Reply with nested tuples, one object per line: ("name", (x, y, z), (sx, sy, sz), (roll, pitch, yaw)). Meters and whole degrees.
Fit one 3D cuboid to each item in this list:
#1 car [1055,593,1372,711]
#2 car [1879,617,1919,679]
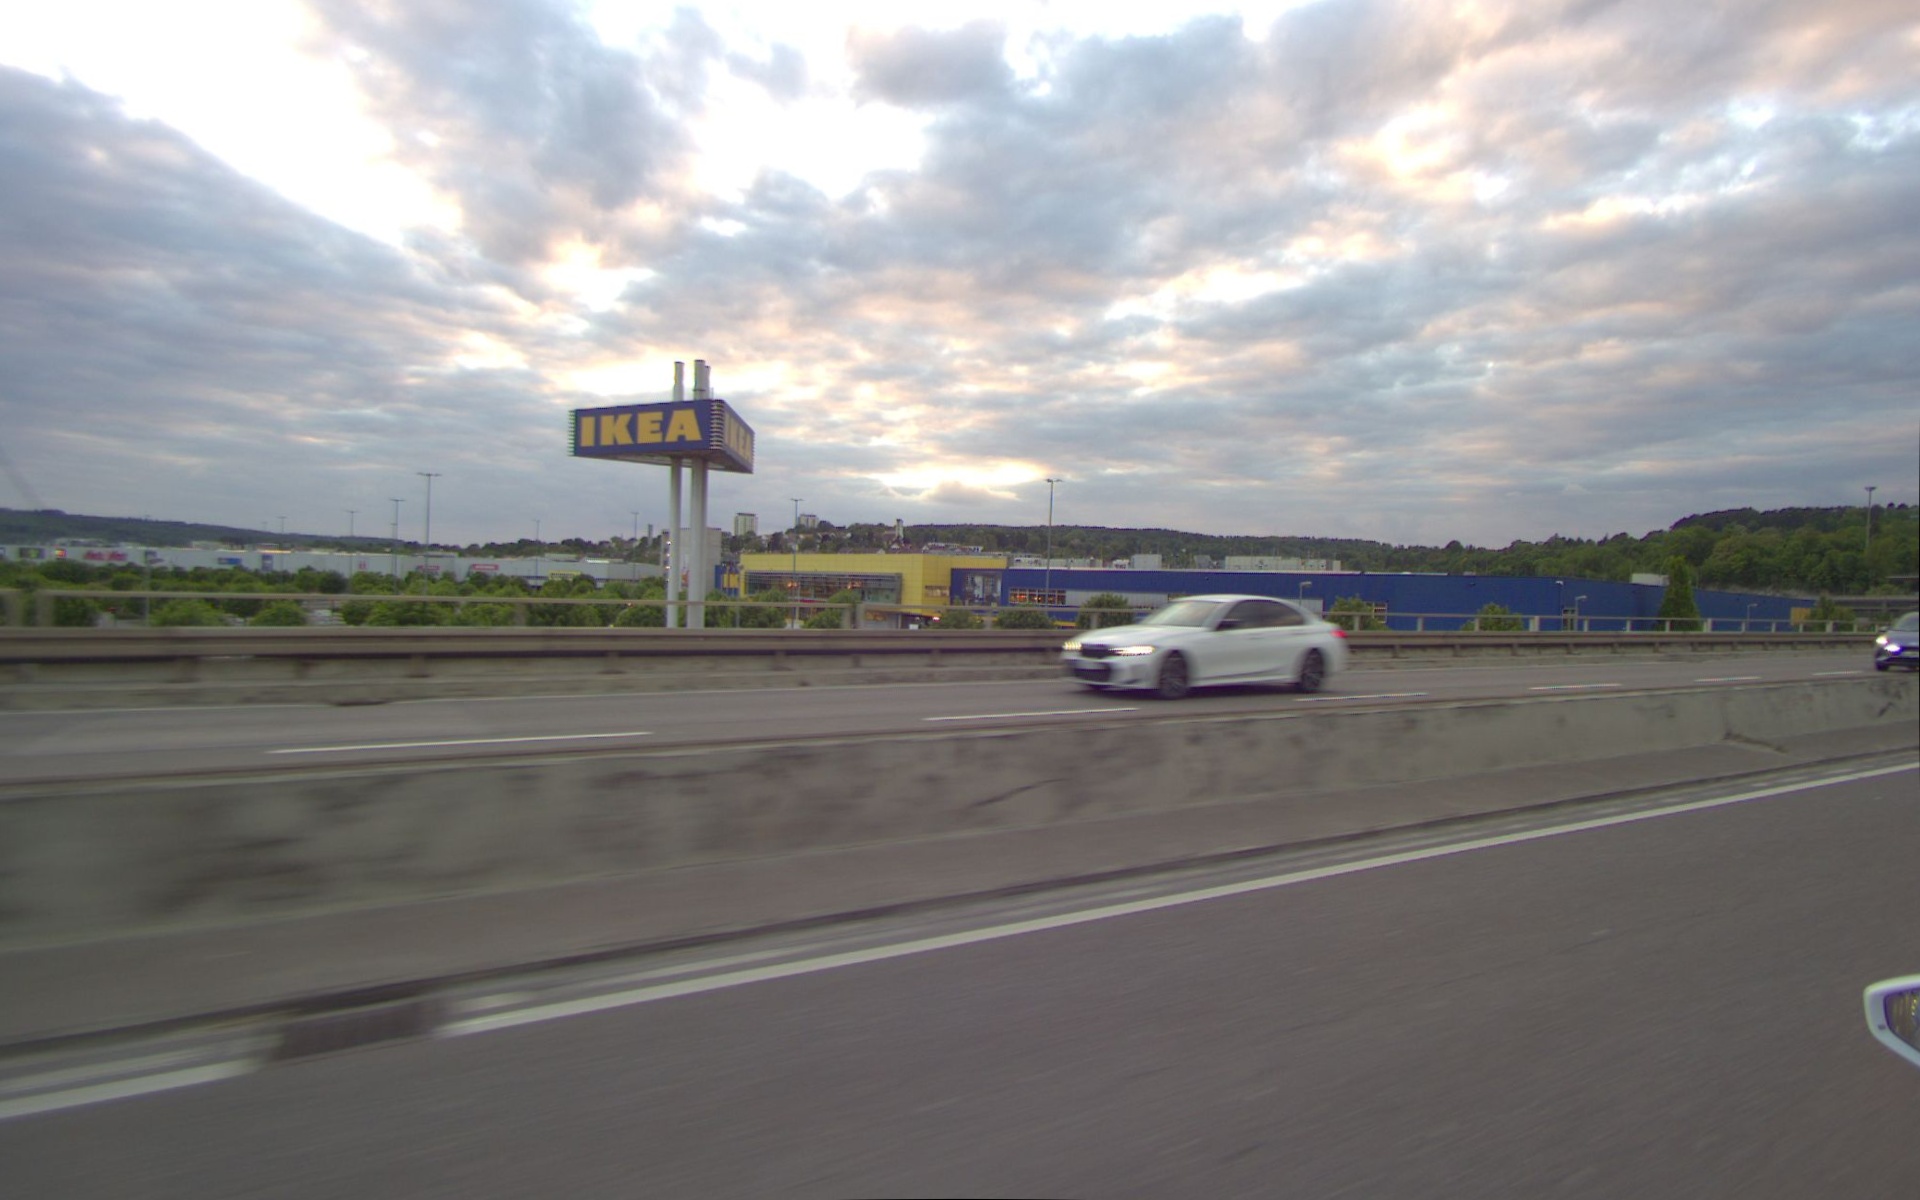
("car", (3.870, 0.726, 15.036), (4.762, 1.523, 1.821), (1, -1, -32))
("car", (24.734, 1.185, 25.166), (3.794, 1.460, 1.619), (0, 0, -33))
